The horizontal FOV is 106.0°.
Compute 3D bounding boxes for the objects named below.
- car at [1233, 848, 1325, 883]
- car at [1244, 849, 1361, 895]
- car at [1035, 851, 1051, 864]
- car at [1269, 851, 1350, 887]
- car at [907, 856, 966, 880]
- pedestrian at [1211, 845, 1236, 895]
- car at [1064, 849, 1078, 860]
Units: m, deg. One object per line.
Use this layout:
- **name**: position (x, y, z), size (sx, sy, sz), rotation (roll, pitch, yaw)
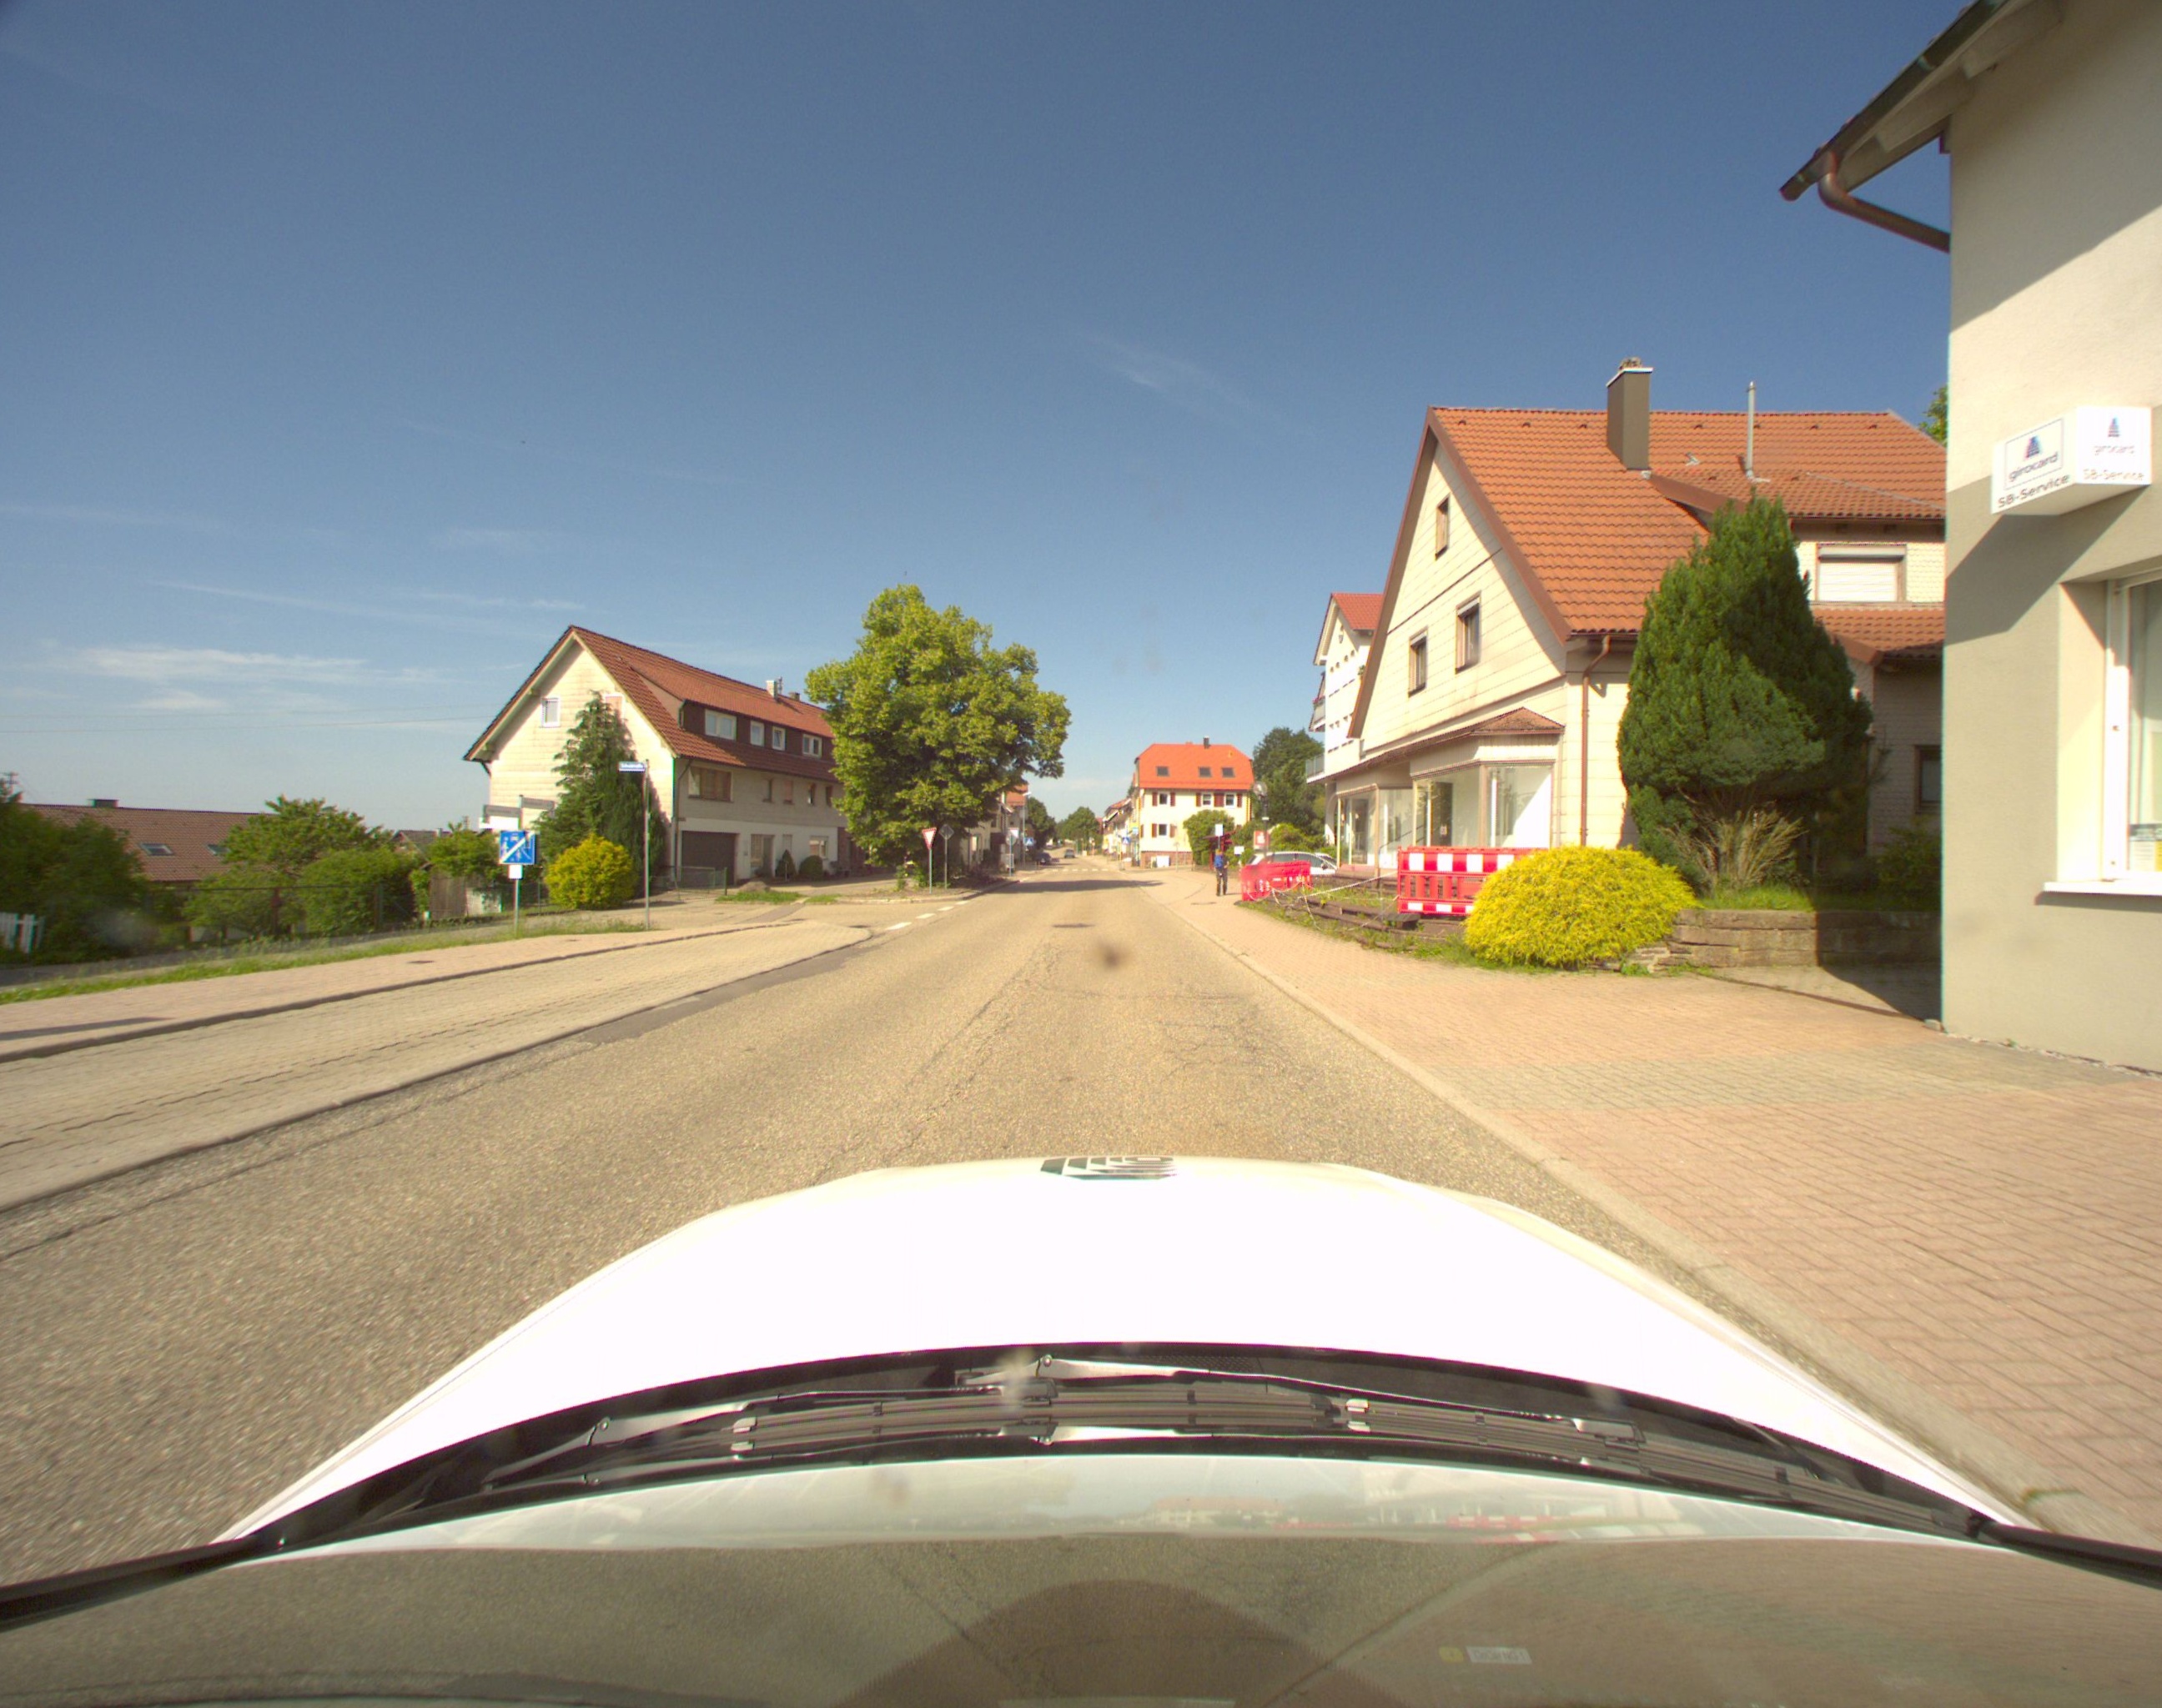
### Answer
- **car**: position (9.422, 0.554, 38.951), size (3.970, 1.548, 1.882), rotation (-1, 0, 3)
- **car**: position (7.741, 0.606, 28.646), size (3.835, 1.558, 1.970), rotation (0, 0, 13)
- **car**: position (-4.824, 0.484, 103.885), size (1.667, 1.533, 3.535), rotation (4, 0, 0)
- **car**: position (10.034, 0.647, 35.887), size (3.215, 1.469, 1.632), rotation (-1, 0, 8)
- **car**: position (-10.318, 1.030, 58.402), size (3.733, 1.455, 1.823), rotation (-3, -5, 12)
- **pedestrian**: position (5.171, 0.565, 29.657), size (0.795, 1.784, 0.981), rotation (-1, 0, 5)
- **car**: position (-1.997, 0.159, 160.503), size (2.489, 2.013, 4.301), rotation (-2, 0, -2)
